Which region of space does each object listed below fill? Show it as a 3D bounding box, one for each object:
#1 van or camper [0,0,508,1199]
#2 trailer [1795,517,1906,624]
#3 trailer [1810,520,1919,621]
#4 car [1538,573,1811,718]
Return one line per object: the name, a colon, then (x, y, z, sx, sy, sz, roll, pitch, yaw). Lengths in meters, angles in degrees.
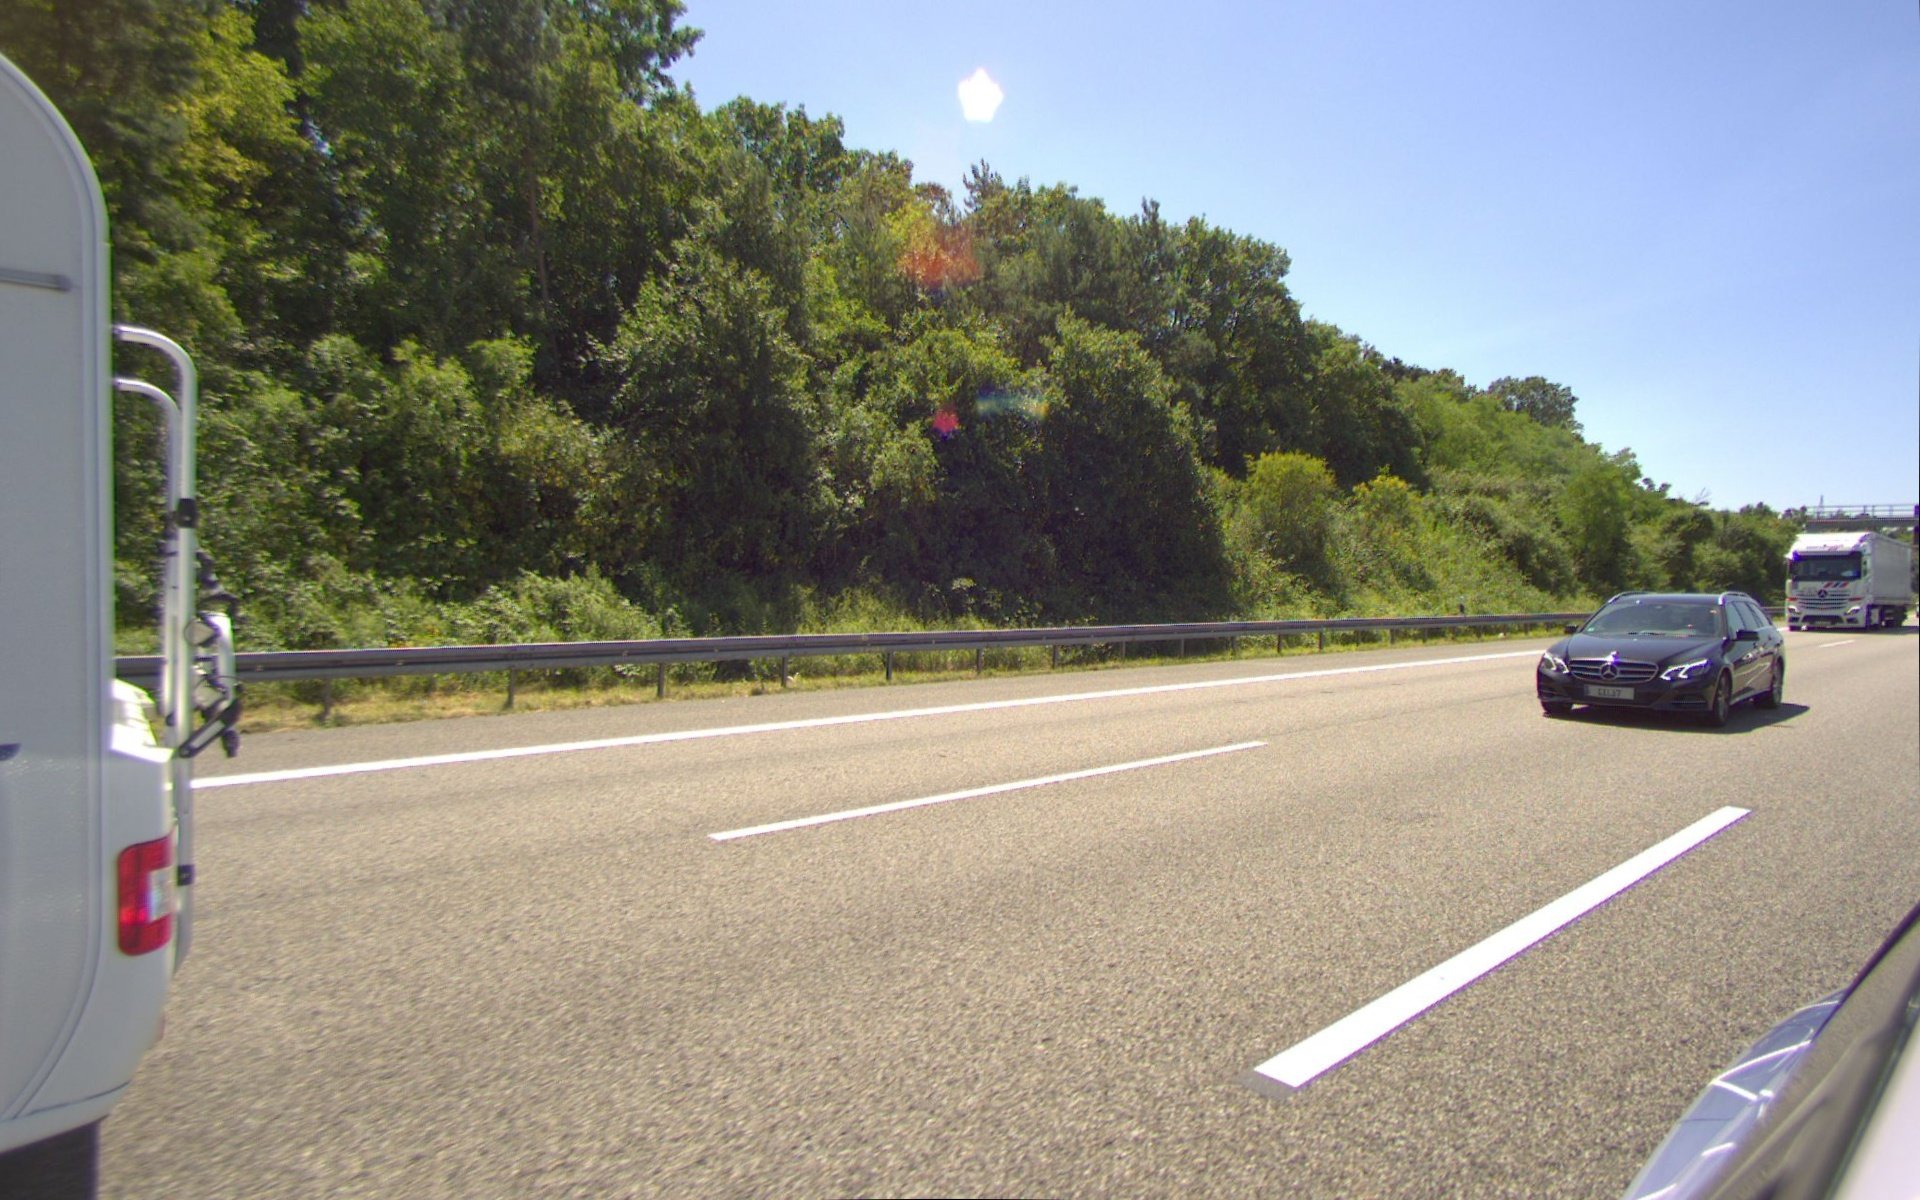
van or camper: (-4.196, 0.032, 1.243, 6.240, 2.709, 2.442, 0, -1, -42)
trailer: (37.315, -1.184, 42.330, 6.673, 4.154, 2.717, 0, 1, -42)
trailer: (42.290, -1.268, 46.864, 12.964, 4.154, 2.732, 0, 1, -42)
car: (9.234, 0.482, 12.915, 4.656, 1.524, 1.844, 0, 0, -42)
